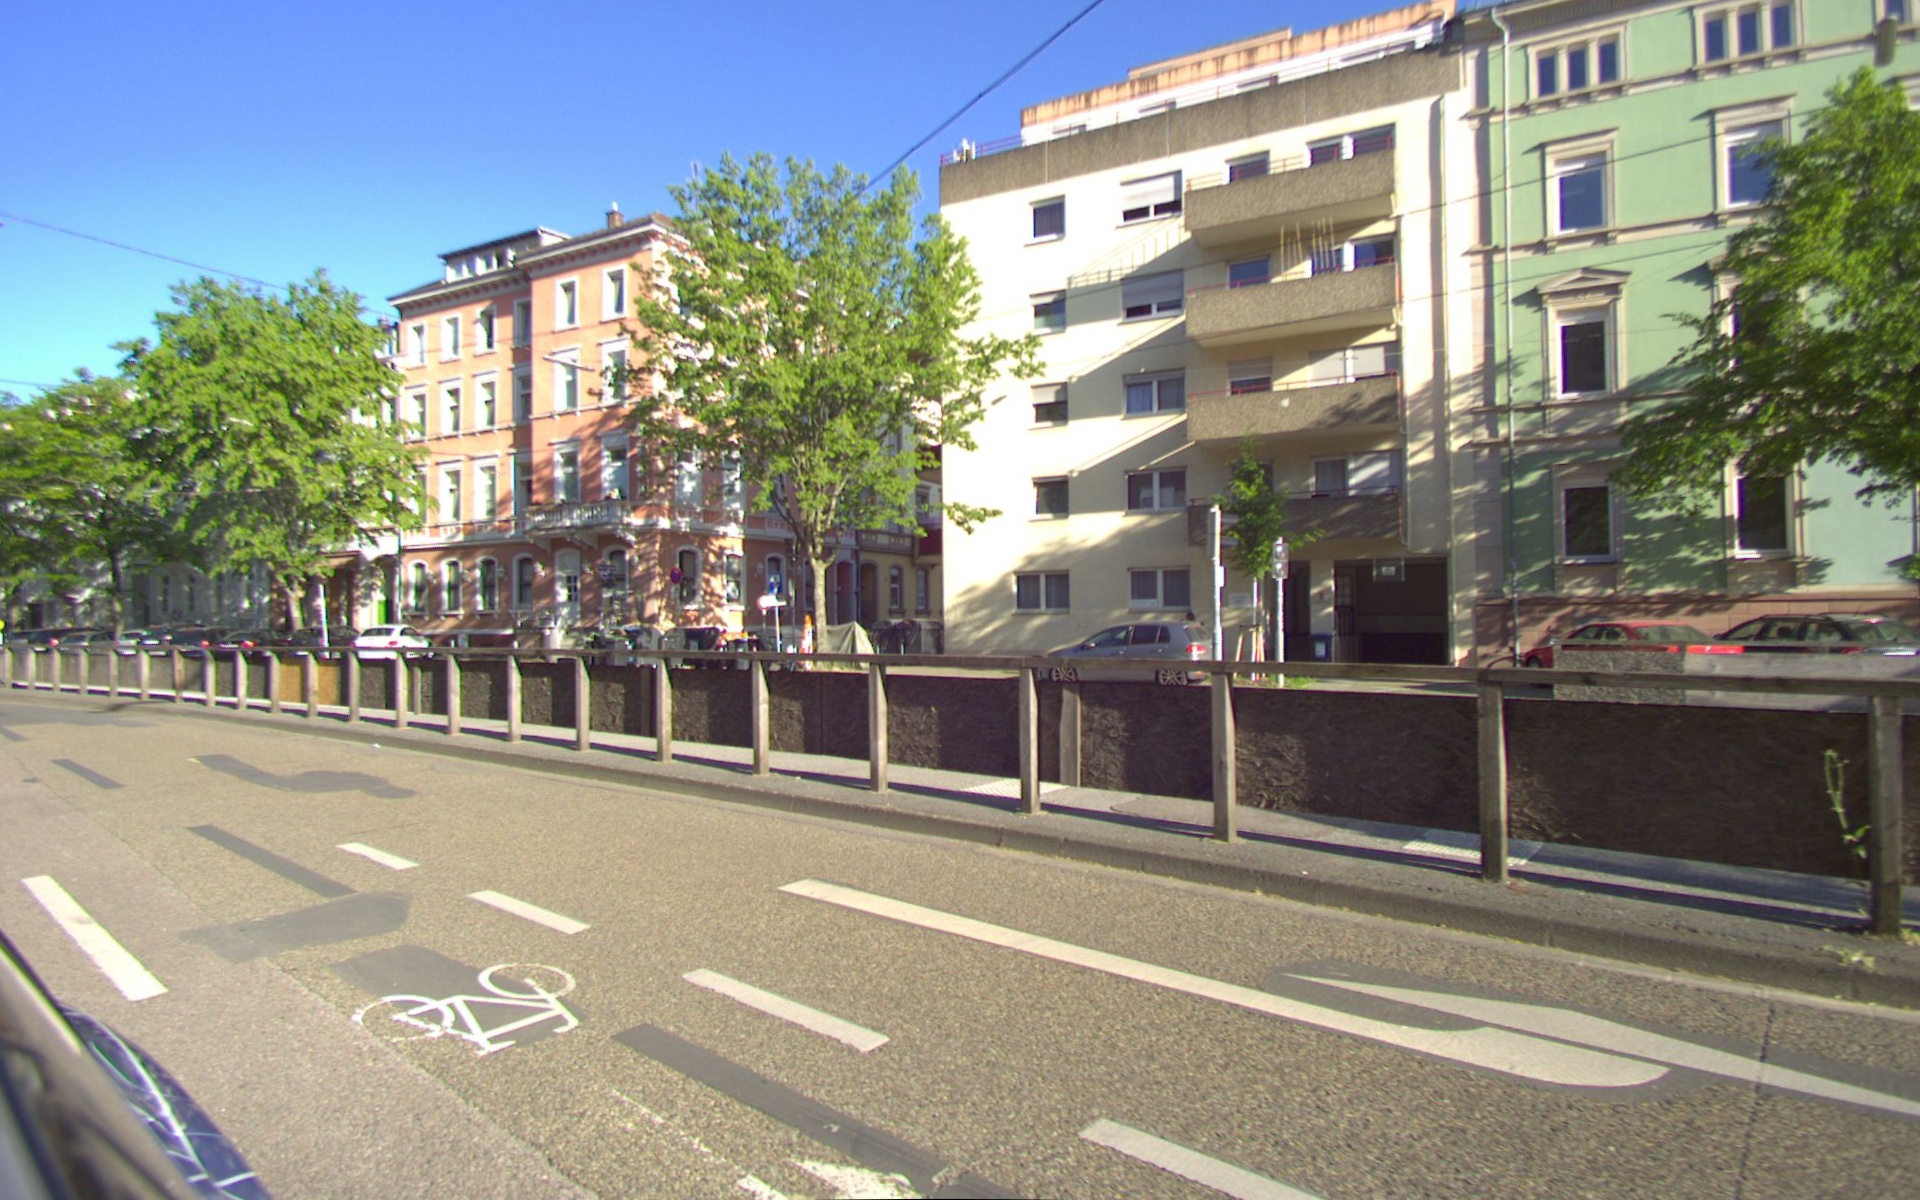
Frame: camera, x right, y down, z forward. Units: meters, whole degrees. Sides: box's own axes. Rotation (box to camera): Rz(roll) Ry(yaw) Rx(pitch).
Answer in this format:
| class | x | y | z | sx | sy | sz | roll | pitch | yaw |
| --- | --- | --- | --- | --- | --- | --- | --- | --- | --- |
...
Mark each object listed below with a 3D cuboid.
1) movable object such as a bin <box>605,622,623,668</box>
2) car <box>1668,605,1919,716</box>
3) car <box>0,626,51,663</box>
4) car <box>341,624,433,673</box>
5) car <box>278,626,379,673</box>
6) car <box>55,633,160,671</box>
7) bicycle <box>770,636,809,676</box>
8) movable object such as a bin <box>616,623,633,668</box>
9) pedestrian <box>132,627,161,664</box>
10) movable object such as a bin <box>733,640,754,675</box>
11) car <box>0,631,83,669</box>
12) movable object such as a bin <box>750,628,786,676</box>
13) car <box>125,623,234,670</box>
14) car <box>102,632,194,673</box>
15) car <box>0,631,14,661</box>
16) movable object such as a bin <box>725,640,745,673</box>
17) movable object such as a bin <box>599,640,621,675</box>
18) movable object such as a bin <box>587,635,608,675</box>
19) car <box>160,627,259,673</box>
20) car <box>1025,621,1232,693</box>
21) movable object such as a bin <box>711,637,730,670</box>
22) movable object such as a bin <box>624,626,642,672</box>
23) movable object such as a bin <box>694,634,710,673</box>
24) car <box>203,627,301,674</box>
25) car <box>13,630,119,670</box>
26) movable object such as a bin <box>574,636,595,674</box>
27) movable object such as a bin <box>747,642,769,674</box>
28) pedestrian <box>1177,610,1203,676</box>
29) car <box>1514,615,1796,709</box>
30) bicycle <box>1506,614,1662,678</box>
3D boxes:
| class | x | y | z | sx | sy | sz | roll | pitch | yaw |
| --- | --- | --- | --- | --- | --- | --- | --- | --- | --- |
| movable object such as a bin | -11.102 | 1.437 | 32.479 | 0.387 | 1.437 | 0.376 | -2 | -2 | 40 |
| car | 14.994 | 0.940 | 17.825 | 1.566 | 1.654 | 4.521 | -1 | 0 | -5 |
| car | -51.298 | 2.393 | 54.059 | 1.760 | 1.812 | 4.202 | -1 | 1 | -1 |
| car | -21.582 | 1.775 | 38.284 | 1.707 | 1.533 | 3.925 | -2 | 1 | -9 |
| car | -24.547 | 1.886 | 39.496 | 1.664 | 1.519 | 3.926 | -2 | 1 | -4 |
| car | -39.722 | 2.400 | 47.278 | 1.745 | 1.496 | 3.824 | -1 | 1 | -2 |
| bicycle | -4.910 | 1.597 | 29.111 | 1.404 | 1.125 | 0.261 | -2 | -2 | 40 |
| movable object such as a bin | -10.707 | 1.442 | 32.292 | 0.385 | 1.437 | 0.376 | -2 | -2 | 40 |
| pedestrian | -38.902 | 2.168 | 48.408 | 0.801 | 1.769 | 0.762 | -1 | -2 | 17 |
| movable object such as a bin | -6.952 | 1.842 | 32.528 | 0.551 | 1.105 | 0.376 | 0 | -1 | 34 |
| car | -45.961 | 2.459 | 50.154 | 1.747 | 1.667 | 3.872 | -1 | 0 | -2 |
| movable object such as a bin | -6.063 | 1.622 | 31.967 | 1.144 | 1.469 | 0.422 | 0 | -1 | 34 |
| car | -34.231 | 1.996 | 44.531 | 1.682 | 1.735 | 4.291 | -1 | 2 | -4 |
| car | -36.966 | 2.362 | 46.171 | 1.682 | 1.544 | 3.284 | -2 | 2 | -4 |
| car | -54.348 | 2.636 | 55.107 | 1.718 | 1.649 | 4.202 | -3 | 1 | -1 |
| movable object such as a bin | -7.555 | 1.896 | 33.974 | 0.551 | 1.105 | 0.376 | -2 | -2 | 34 |
| movable object such as a bin | -10.904 | 1.788 | 31.526 | 0.639 | 1.076 | 0.375 | -2 | -2 | 40 |
| movable object such as a bin | -11.455 | 1.737 | 31.976 | 0.639 | 1.251 | 0.375 | -2 | -2 | 40 |
| car | -31.525 | 2.071 | 42.643 | 1.609 | 1.629 | 3.993 | -2 | 1 | -8 |
| car | 3.759 | 1.250 | 22.798 | 4.278 | 1.421 | 1.693 | -2 | 0 | 32 |
| movable object such as a bin | -8.277 | 1.847 | 34.957 | 0.551 | 1.107 | 0.376 | -2 | -2 | 34 |
| movable object such as a bin | -10.358 | 1.546 | 32.066 | 0.387 | 1.437 | 0.376 | -2 | -2 | 40 |
| movable object such as a bin | -8.751 | 1.816 | 34.316 | 0.386 | 1.322 | 0.376 | -2 | -2 | 34 |
| car | -28.924 | 2.003 | 41.470 | 1.609 | 1.629 | 3.993 | -2 | 1 | -8 |
| car | -43.029 | 2.368 | 48.820 | 1.748 | 1.667 | 3.872 | -1 | 0 | -1 |
| movable object such as a bin | -12.007 | 1.746 | 32.338 | 0.639 | 1.212 | 0.375 | -2 | -2 | 40 |
| movable object such as a bin | -6.633 | 1.894 | 33.159 | 0.551 | 1.041 | 0.443 | 0 | -1 | 34 |
| pedestrian | 5.902 | 1.093 | 25.942 | 0.489 | 1.684 | 0.507 | -2 | -2 | 33 |
| car | 12.616 | 1.038 | 18.817 | 1.845 | 1.436 | 4.521 | -1 | 0 | -5 |
| bicycle | 14.438 | 1.061 | 23.554 | 2.994 | 1.409 | 0.713 | -1 | -2 | 26 |
